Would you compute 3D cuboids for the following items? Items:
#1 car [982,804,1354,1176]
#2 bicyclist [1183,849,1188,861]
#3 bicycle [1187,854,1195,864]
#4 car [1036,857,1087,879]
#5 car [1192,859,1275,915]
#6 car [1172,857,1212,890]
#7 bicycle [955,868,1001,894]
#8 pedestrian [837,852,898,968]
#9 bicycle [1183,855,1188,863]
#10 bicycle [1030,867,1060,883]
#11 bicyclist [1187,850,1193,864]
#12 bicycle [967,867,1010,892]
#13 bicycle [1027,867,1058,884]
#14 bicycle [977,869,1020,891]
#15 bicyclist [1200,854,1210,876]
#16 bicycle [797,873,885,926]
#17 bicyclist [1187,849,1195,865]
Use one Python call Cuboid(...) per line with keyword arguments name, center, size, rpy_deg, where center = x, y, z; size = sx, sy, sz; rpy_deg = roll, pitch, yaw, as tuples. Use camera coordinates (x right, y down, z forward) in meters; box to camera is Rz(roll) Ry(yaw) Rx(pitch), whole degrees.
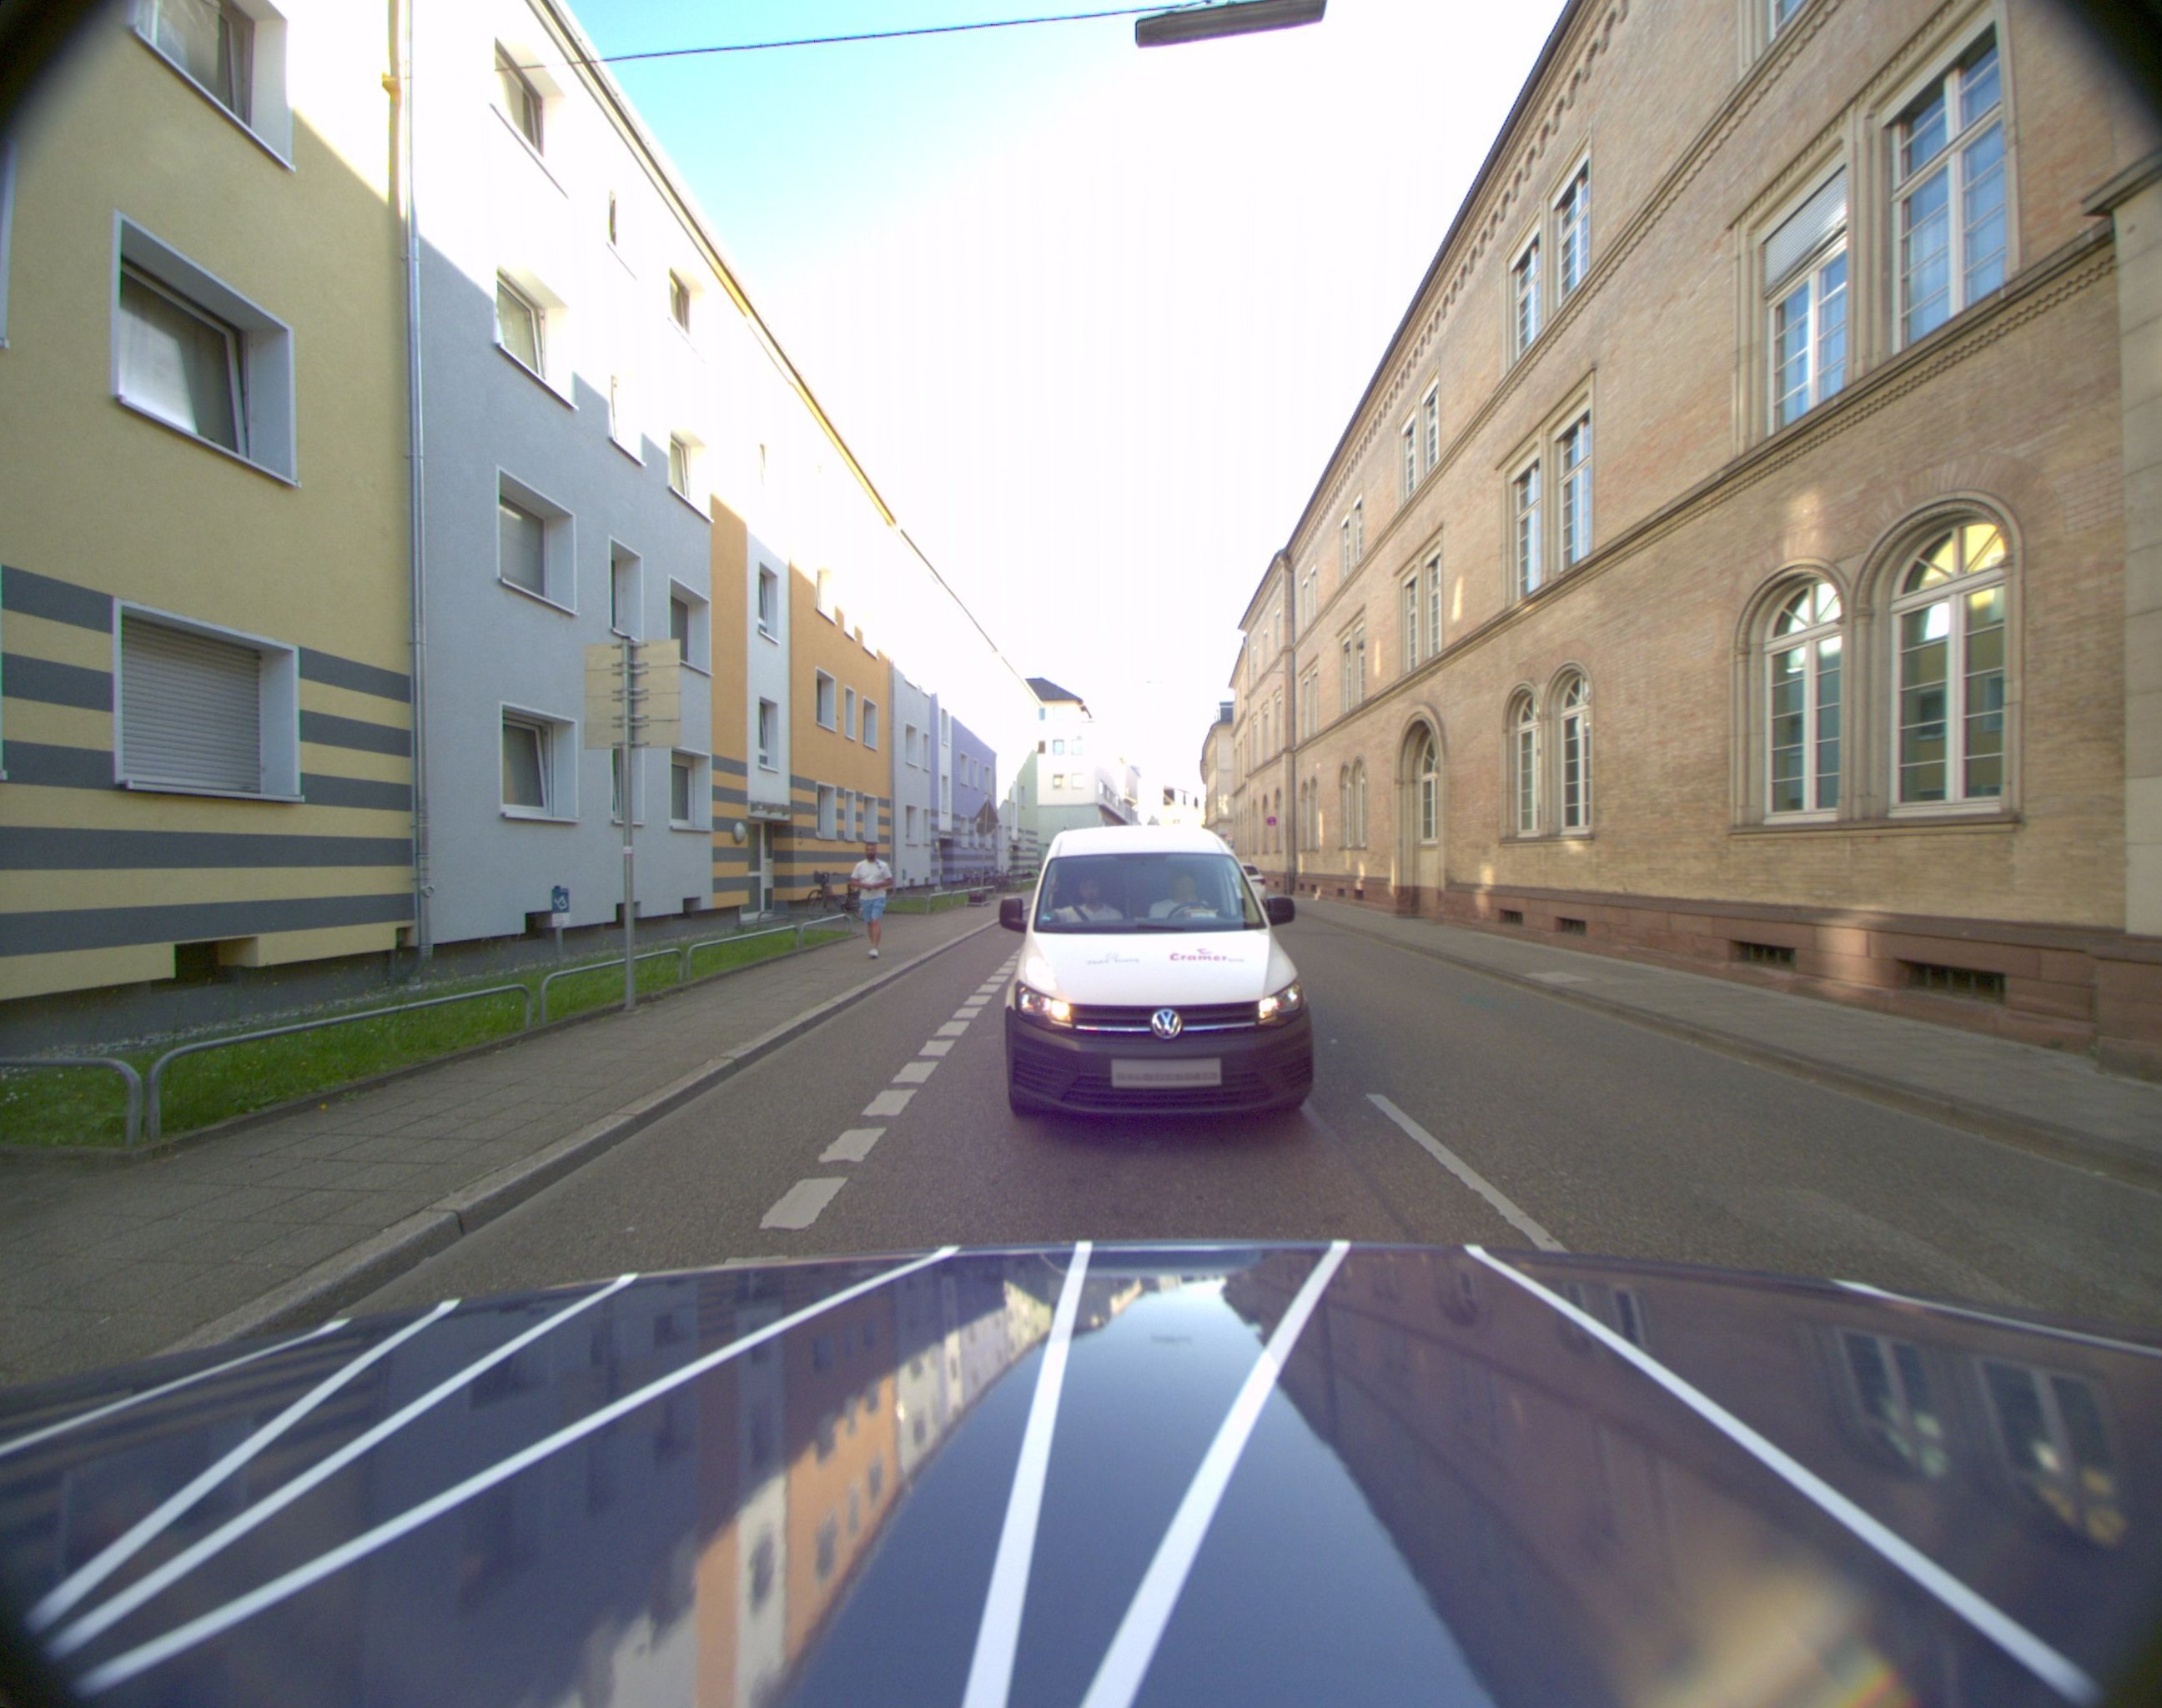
Cuboid(name="car", center=(0.465, 0.678, 6.416), size=(1.819, 1.825, 5.341), rpy_deg=(0, 0, 1))
Cuboid(name="bicyclist", center=(13.648, 0.116, 99.231), size=(0.546, 1.524, 0.870), rpy_deg=(2, 0, 8))
Cuboid(name="bicycle", center=(10.945, 0.487, 75.821), size=(0.651, 1.001, 1.807), rpy_deg=(2, 0, 5))
Cuboid(name="car", center=(-1.591, 1.156, 63.475), size=(3.995, 1.681, 1.901), rpy_deg=(-2, 1, 5))
Cuboid(name="car", center=(4.664, 0.952, 23.879), size=(1.891, 1.467, 4.545), rpy_deg=(2, 0, 3))
Cuboid(name="car", center=(5.785, 0.964, 39.853), size=(1.689, 1.573, 4.276), rpy_deg=(2, 0, 4))
Cuboid(name="bicycle", center=(-4.323, 1.122, 31.858), size=(1.775, 0.990, 0.584), rpy_deg=(1, 1, 7))
Cuboid(name="pedestrian", center=(-3.188, 0.811, 11.406), size=(0.644, 1.662, 0.834), rpy_deg=(1, 0, 3))
Cuboid(name="bicycle", center=(13.641, 0.614, 99.313), size=(0.546, 1.001, 1.758), rpy_deg=(2, 0, 8))
Cuboid(name="bicycle", center=(-2.232, 1.325, 47.608), size=(1.775, 0.934, 0.584), rpy_deg=(1, 1, 7))
Cuboid(name="bicyclist", center=(12.161, 0.367, 84.793), size=(0.651, 1.500, 1.112), rpy_deg=(2, 0, 8))
Cuboid(name="bicycle", center=(-4.046, 1.112, 33.200), size=(1.775, 0.990, 0.584), rpy_deg=(1, 1, 7))
Cuboid(name="bicycle", center=(-2.312, 1.294, 46.071), size=(1.775, 0.934, 0.584), rpy_deg=(1, 1, 7))
Cuboid(name="bicycle", center=(-3.656, 1.150, 33.816), size=(1.775, 0.934, 0.584), rpy_deg=(1, 1, 7))
Cuboid(name="bicyclist", center=(8.259, 0.732, 50.542), size=(0.604, 1.434, 0.578), rpy_deg=(0, 0, 4))
Cuboid(name="bicycle", center=(-5.391, 1.022, 17.101), size=(1.776, 1.118, 0.583), rpy_deg=(1, 1, -1))
Cuboid(name="bicyclist", center=(10.941, 0.287, 75.812), size=(0.651, 1.558, 0.961), rpy_deg=(2, 0, 5))
